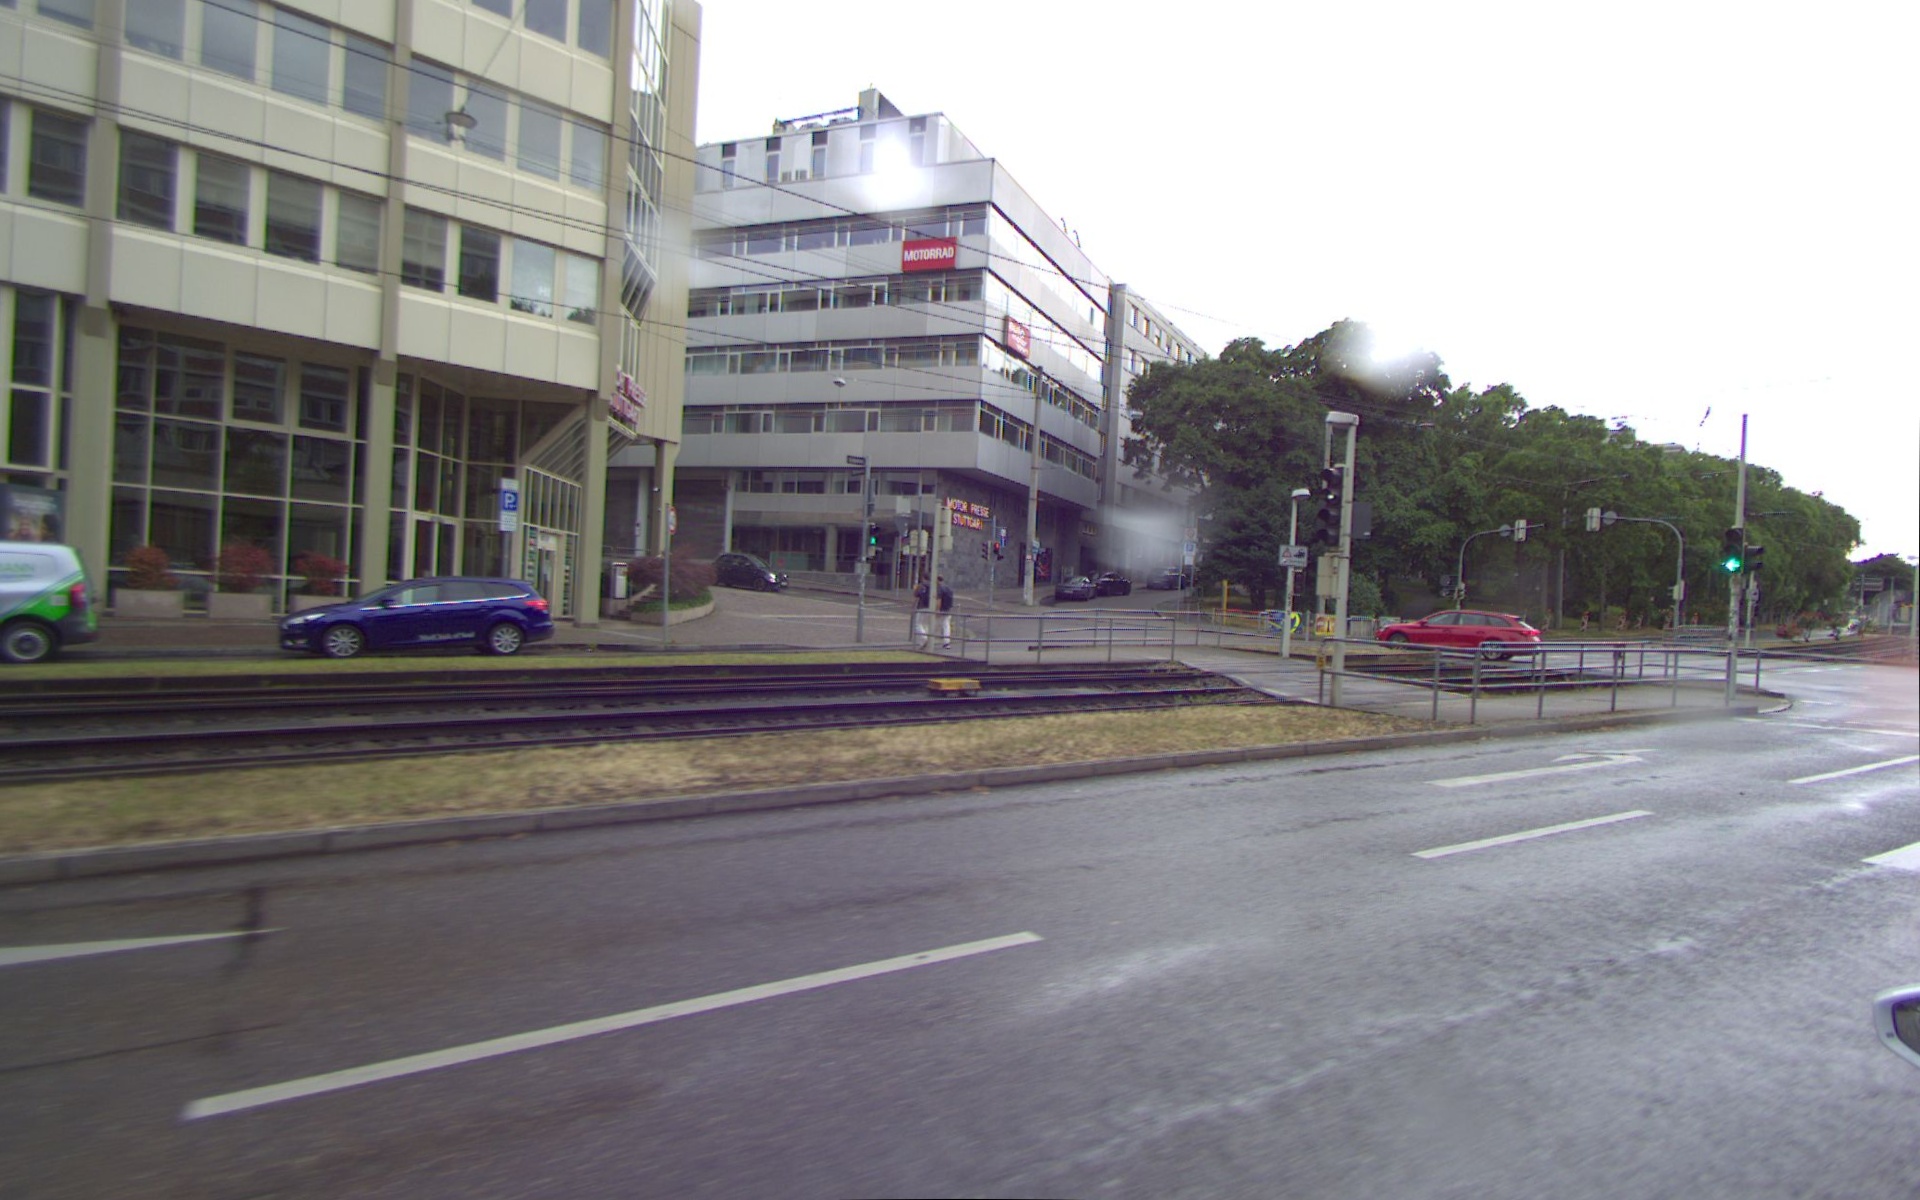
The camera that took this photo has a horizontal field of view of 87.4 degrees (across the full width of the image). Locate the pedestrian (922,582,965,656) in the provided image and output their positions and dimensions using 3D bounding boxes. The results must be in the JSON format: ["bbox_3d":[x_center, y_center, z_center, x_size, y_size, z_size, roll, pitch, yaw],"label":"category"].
[{"bbox_3d":[-0.424,0.486,25.543,0.630,1.811,0.808,5,2,35],"label":"pedestrian"}]

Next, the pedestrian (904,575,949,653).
[{"bbox_3d":[-0.808,0.333,24.395,0.630,1.811,0.808,5,2,35],"label":"pedestrian"}]

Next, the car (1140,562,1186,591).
[{"bbox_3d":[14.634,-1.652,72.308,1.964,1.818,4.203,5,2,29],"label":"car"}]

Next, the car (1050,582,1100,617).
[{"bbox_3d":[6.559,-0.045,56.921,1.960,1.818,4.000,4,2,18],"label":"car"}]

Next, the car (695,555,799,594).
[{"bbox_3d":[-9.149,-1.084,43.197,3.920,1.383,1.831,4,2,14],"label":"car"}]

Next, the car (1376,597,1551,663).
[{"bbox_3d":[15.219,0.867,30.496,4.352,1.662,1.977,4,1,42],"label":"car"}]

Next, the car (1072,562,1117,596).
[{"bbox_3d":[8.322,-1.334,61.841,1.960,1.818,3.999,4,5,18],"label":"car"}]

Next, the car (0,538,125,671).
[{"bbox_3d":[-15.301,-0.010,14.684,4.657,1.875,1.977,3,2,-40],"label":"car"}]

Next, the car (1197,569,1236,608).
[{"bbox_3d":[21.608,-0.923,84.560,1.964,3.038,4.202,5,2,30],"label":"car"}]

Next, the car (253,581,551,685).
[{"bbox_3d":[-10.223,0.609,18.568,4.512,1.603,1.977,3,2,-40],"label":"car"}]

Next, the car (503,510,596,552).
[{"bbox_3d":[-23.553,-3.938,57.867,1.962,2.040,4.833,5,2,24],"label":"car"}]

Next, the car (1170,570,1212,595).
[{"bbox_3d":[18.361,-1.371,79.769,1.964,1.818,4.202,5,2,30],"label":"car"}]
